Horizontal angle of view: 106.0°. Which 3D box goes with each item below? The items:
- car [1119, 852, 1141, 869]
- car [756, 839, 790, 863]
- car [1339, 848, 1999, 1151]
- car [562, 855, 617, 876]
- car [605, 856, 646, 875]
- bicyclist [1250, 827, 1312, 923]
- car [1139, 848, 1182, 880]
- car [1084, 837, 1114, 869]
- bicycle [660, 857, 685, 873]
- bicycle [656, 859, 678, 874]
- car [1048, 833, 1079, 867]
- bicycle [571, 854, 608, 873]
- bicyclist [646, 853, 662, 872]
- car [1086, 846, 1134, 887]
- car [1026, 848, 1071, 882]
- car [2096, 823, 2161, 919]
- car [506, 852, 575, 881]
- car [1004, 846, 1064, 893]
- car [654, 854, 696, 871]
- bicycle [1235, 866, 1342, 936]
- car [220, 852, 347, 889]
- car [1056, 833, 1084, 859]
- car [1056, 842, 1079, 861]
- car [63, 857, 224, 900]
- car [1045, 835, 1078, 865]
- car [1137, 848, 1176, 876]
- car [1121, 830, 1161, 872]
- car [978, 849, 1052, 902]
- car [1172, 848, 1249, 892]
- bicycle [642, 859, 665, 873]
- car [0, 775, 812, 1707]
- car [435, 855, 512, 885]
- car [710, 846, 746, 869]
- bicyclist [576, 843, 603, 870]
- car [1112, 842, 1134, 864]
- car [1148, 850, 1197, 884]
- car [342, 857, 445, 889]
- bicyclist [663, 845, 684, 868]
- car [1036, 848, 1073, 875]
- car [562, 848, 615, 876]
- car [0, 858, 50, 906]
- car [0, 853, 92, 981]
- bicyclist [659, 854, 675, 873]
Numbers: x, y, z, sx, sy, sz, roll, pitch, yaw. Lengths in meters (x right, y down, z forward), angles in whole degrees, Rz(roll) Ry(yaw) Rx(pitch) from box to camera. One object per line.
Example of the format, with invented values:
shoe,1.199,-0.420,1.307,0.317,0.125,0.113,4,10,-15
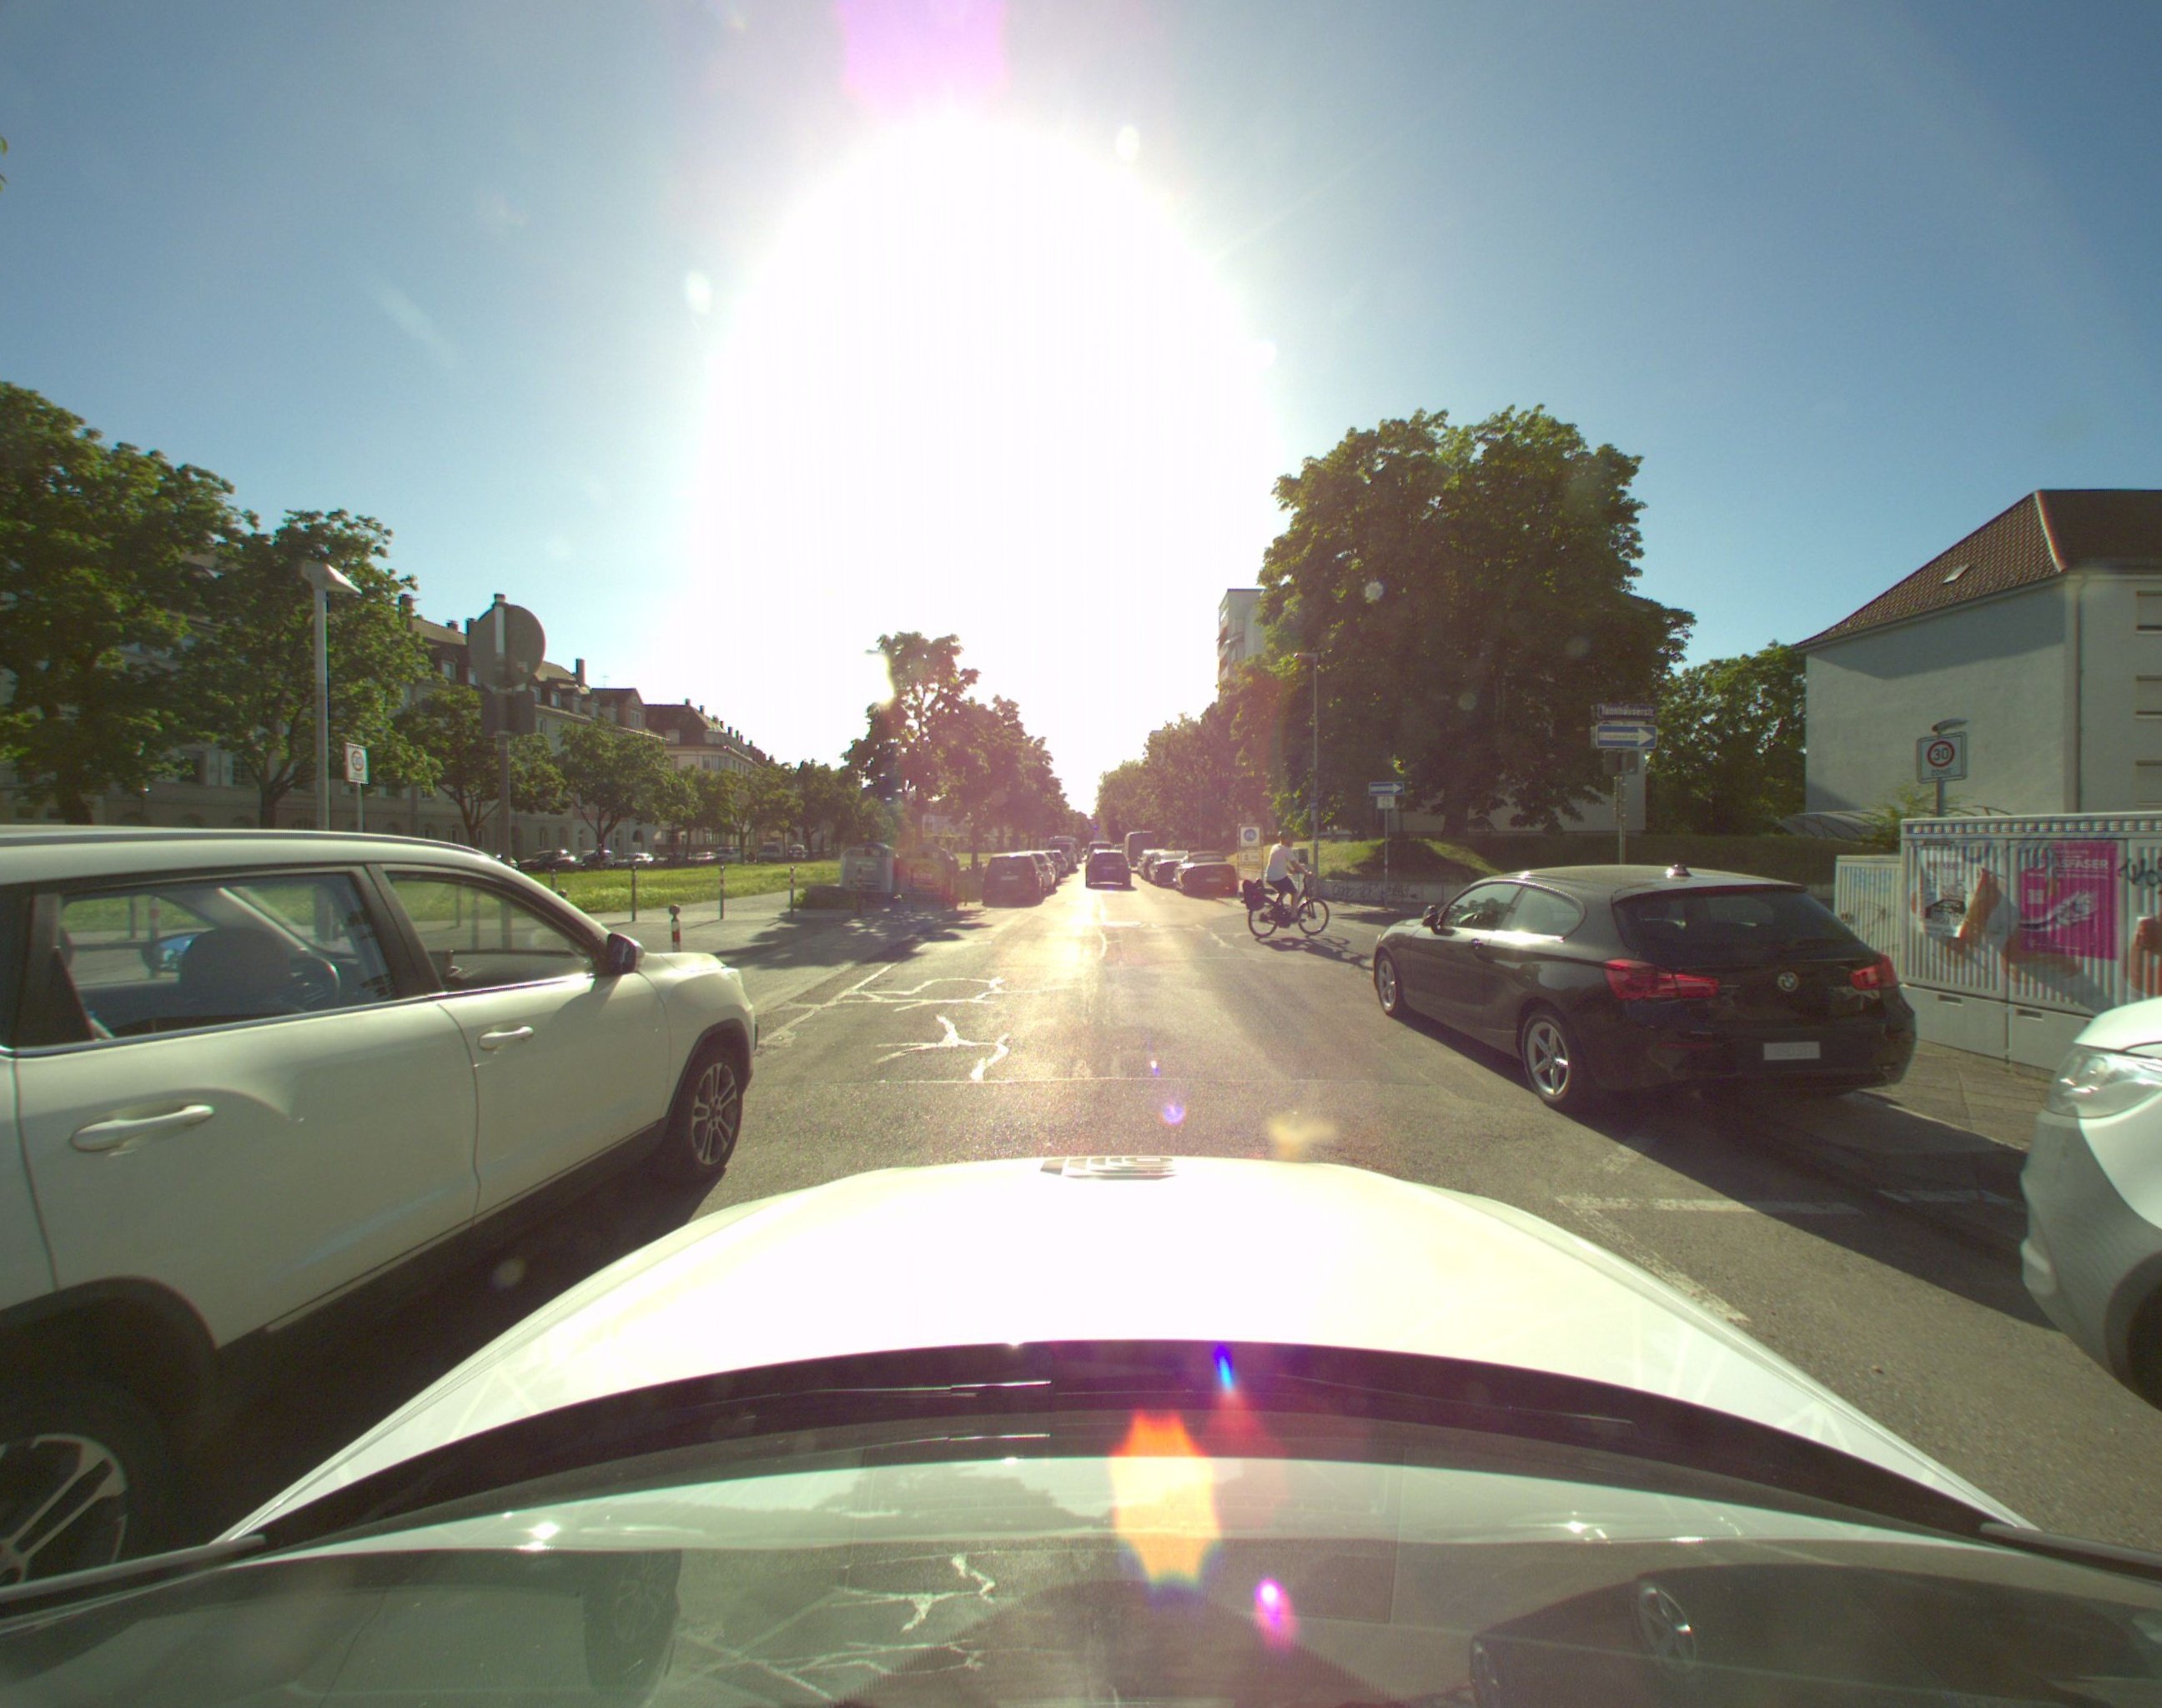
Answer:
car,4.483,0.535,74.730,1.981,1.487,4.129,0,0,2
car,-36.291,-0.326,96.127,1.910,2.744,5.622,0,0,-1
car,3.726,0.722,6.414,1.952,1.481,4.499,-2,0,0
car,-36.563,0.839,60.650,1.687,1.429,3.776,0,0,2
car,-36.499,0.939,65.338,1.375,1.440,3.343,0,0,2
bicyclist,3.429,0.341,13.998,0.792,1.596,0.691,0,0,-23
car,3.953,0.455,40.910,1.774,1.487,4.031,0,0,0
car,1.245,-0.103,54.515,1.887,1.991,4.012,-2,0,2
bicycle,-33.428,0.900,66.674,0.808,1.252,2.634,0,0,-1
bicycle,-31.768,0.930,62.508,0.730,1.079,1.955,0,1,-1
car,-1.312,-0.299,62.026,2.090,2.496,4.129,0,0,2
bicycle,-33.321,0.638,55.235,0.807,1.252,2.635,0,0,2
bicyclist,-32.821,0.649,62.593,0.735,1.437,0.943,2,1,0
car,1.169,0.445,32.632,1.772,1.531,4.002,1,1,2
car,-1.432,0.467,37.347,1.772,1.461,4.129,0,0,2
car,21.681,0.291,14.769,4.267,1.730,1.870,0,0,0
car,-36.642,0.804,55.363,1.731,1.908,4.458,0,0,-1
car,-1.624,0.524,29.418,1.770,1.495,3.877,-2,0,2
car,-36.551,0.766,73.393,1.839,1.440,3.775,0,0,1
bicycle,3.590,0.779,14.074,1.767,1.127,0.658,0,0,-23
car,-36.652,0.706,37.583,1.627,1.549,4.352,0,0,-1
car,-1.146,-0.885,87.485,2.606,2.645,6.118,0,0,2
car,-1.315,-0.245,81.826,2.002,1.785,4.129,-1,0,2
car,-36.917,0.910,32.238,1.689,1.526,4.079,0,0,-2
car,-1.276,-0.289,55.613,2.091,1.942,4.128,0,0,1
car,4.218,0.403,45.968,1.981,1.487,4.129,0,0,2
car,4.059,-0.232,56.081,2.157,2.689,5.412,0,0,-2
car,-1.930,0.611,24.899,1.741,1.425,3.918,-2,0,2
car,4.432,0.502,28.573,2.117,1.337,4.508,-3,0,2
bicycle,-32.791,0.919,62.534,0.730,1.079,1.955,0,1,-1
car,-2.627,0.704,2.846,1.749,1.647,4.290,-2,0,2
car,-36.693,0.920,49.316,1.627,1.686,4.079,0,0,-1
car,-36.219,0.336,83.673,1.689,2.213,5.005,0,0,-1
bicyclist,-33.298,0.168,55.153,0.938,1.837,1.449,-1,-1,-1
car,4.379,-0.116,85.626,2.155,2.292,5.266,0,0,1
car,3.815,0.510,34.536,1.772,1.371,4.129,0,0,2
car,-36.810,0.961,43.763,1.751,1.549,4.525,0,0,-1
bicyclist,-33.402,0.236,66.726,0.938,1.837,1.449,-1,-1,0
car,-1.491,0.381,47.148,1.826,1.500,4.129,0,0,2
car,-42.078,0.644,69.708,1.770,2.259,4.463,0,0,-1
car,-36.956,0.962,26.171,1.689,1.561,4.695,0,0,-1
car,-14.584,0.750,8.903,4.353,1.409,1.906,0,2,-24
bicyclist,-31.779,0.723,62.518,0.735,1.437,0.942,-1,-1,0
